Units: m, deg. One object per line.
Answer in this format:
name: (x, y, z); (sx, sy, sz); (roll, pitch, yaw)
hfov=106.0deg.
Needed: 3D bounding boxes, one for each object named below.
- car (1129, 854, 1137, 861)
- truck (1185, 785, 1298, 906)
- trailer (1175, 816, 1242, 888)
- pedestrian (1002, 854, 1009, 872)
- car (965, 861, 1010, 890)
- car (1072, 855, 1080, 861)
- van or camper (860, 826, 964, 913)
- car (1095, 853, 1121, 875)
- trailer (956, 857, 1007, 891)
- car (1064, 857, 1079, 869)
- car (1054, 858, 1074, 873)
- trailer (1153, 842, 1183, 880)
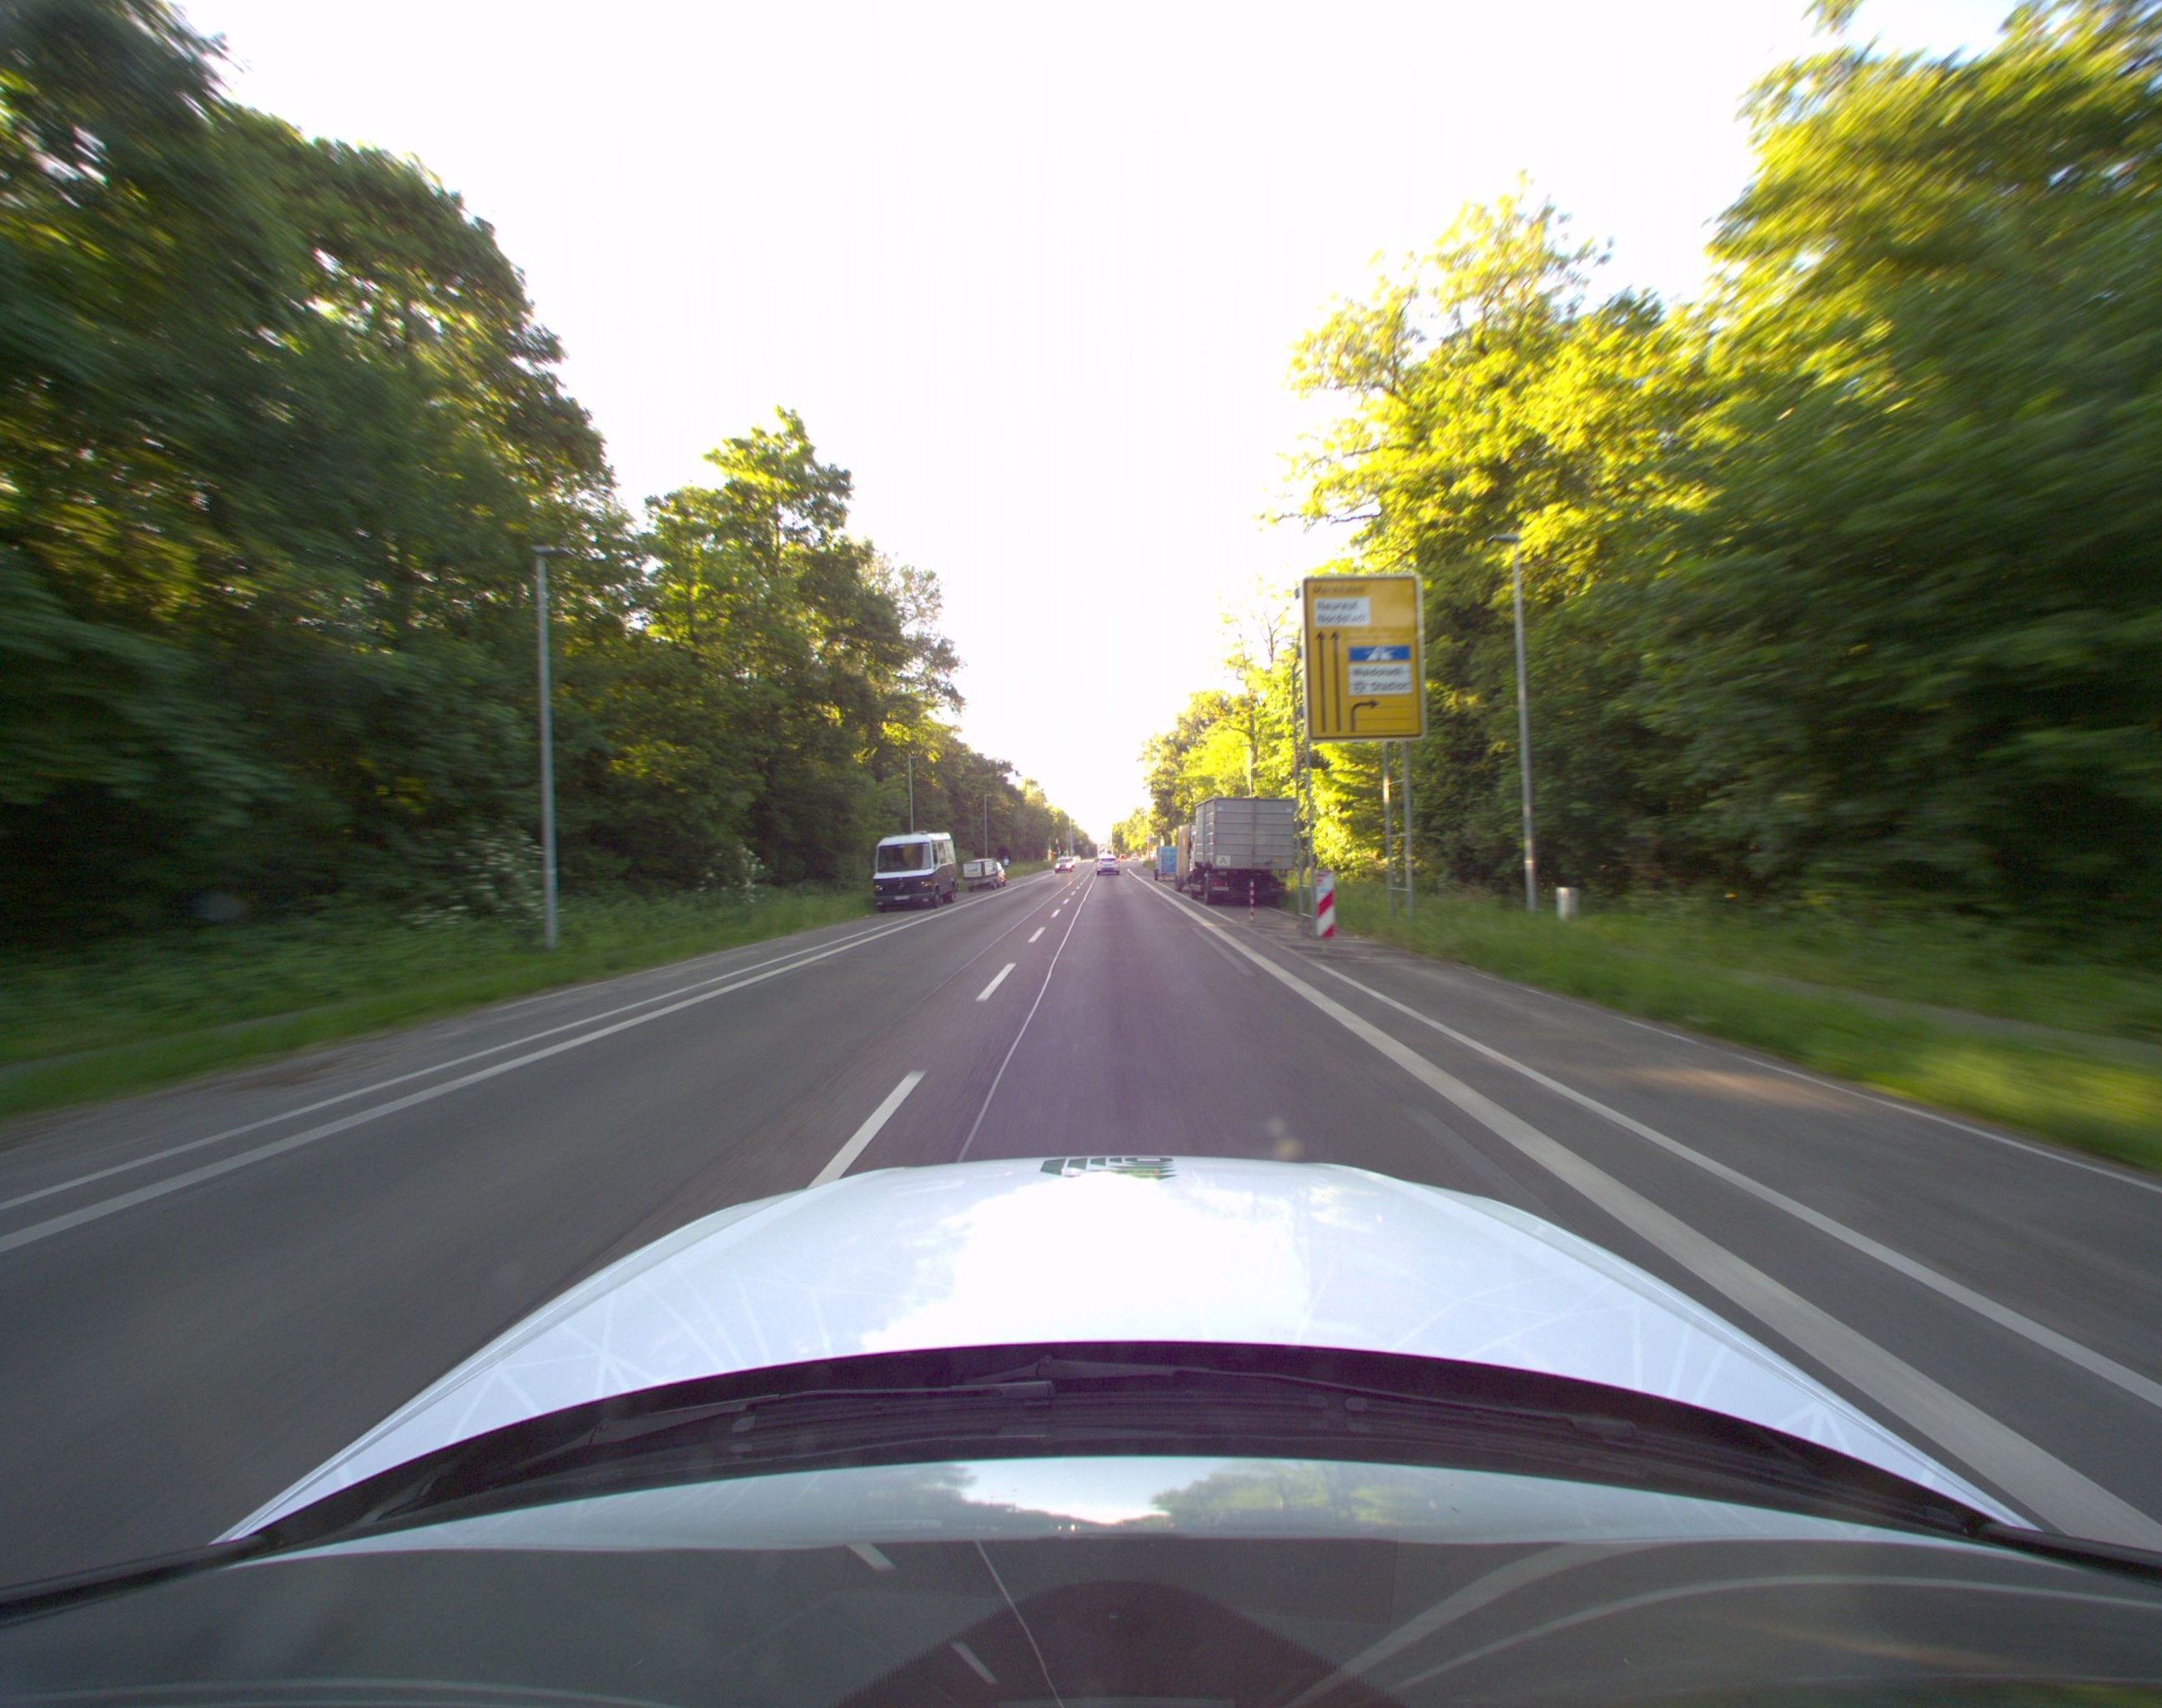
car: (13.044, 0.899, 205.395); (1.985, 1.618, 4.003); (0, 0, 3)
truck: (4.986, -0.221, 26.563); (2.495, 3.366, 7.111); (-1, 0, 2)
trailer: (5.306, -0.080, 34.708); (2.263, 2.844, 5.210); (0, 0, 3)
pedestrian: (-8.734, 1.057, 94.504); (0.691, 2.014, 0.713); (0, 0, 2)
car: (-5.397, 1.223, 47.600); (1.860, 1.463, 4.135); (-5, 0, 2)
car: (-1.383, 1.027, 216.030); (1.986, 1.464, 4.001); (-1, 0, 1)
van or camper: (-6.075, 0.519, 30.115); (2.293, 2.768, 5.559); (-4, 0, 2)
car: (2.163, 0.815, 65.849); (1.986, 1.640, 4.001); (-2, 0, 2)
trailer: (-5.245, 1.033, 43.434); (1.459, 1.659, 3.378); (-4, -1, 14)
car: (-1.254, 1.195, 110.929); (1.672, 1.490, 4.692); (-2, 0, 2)
car: (-1.710, 1.157, 82.098); (1.672, 1.415, 4.002); (-2, 0, 2)
trailer: (5.308, 0.412, 50.043); (1.494, 2.235, 4.552); (0, 0, 2)
